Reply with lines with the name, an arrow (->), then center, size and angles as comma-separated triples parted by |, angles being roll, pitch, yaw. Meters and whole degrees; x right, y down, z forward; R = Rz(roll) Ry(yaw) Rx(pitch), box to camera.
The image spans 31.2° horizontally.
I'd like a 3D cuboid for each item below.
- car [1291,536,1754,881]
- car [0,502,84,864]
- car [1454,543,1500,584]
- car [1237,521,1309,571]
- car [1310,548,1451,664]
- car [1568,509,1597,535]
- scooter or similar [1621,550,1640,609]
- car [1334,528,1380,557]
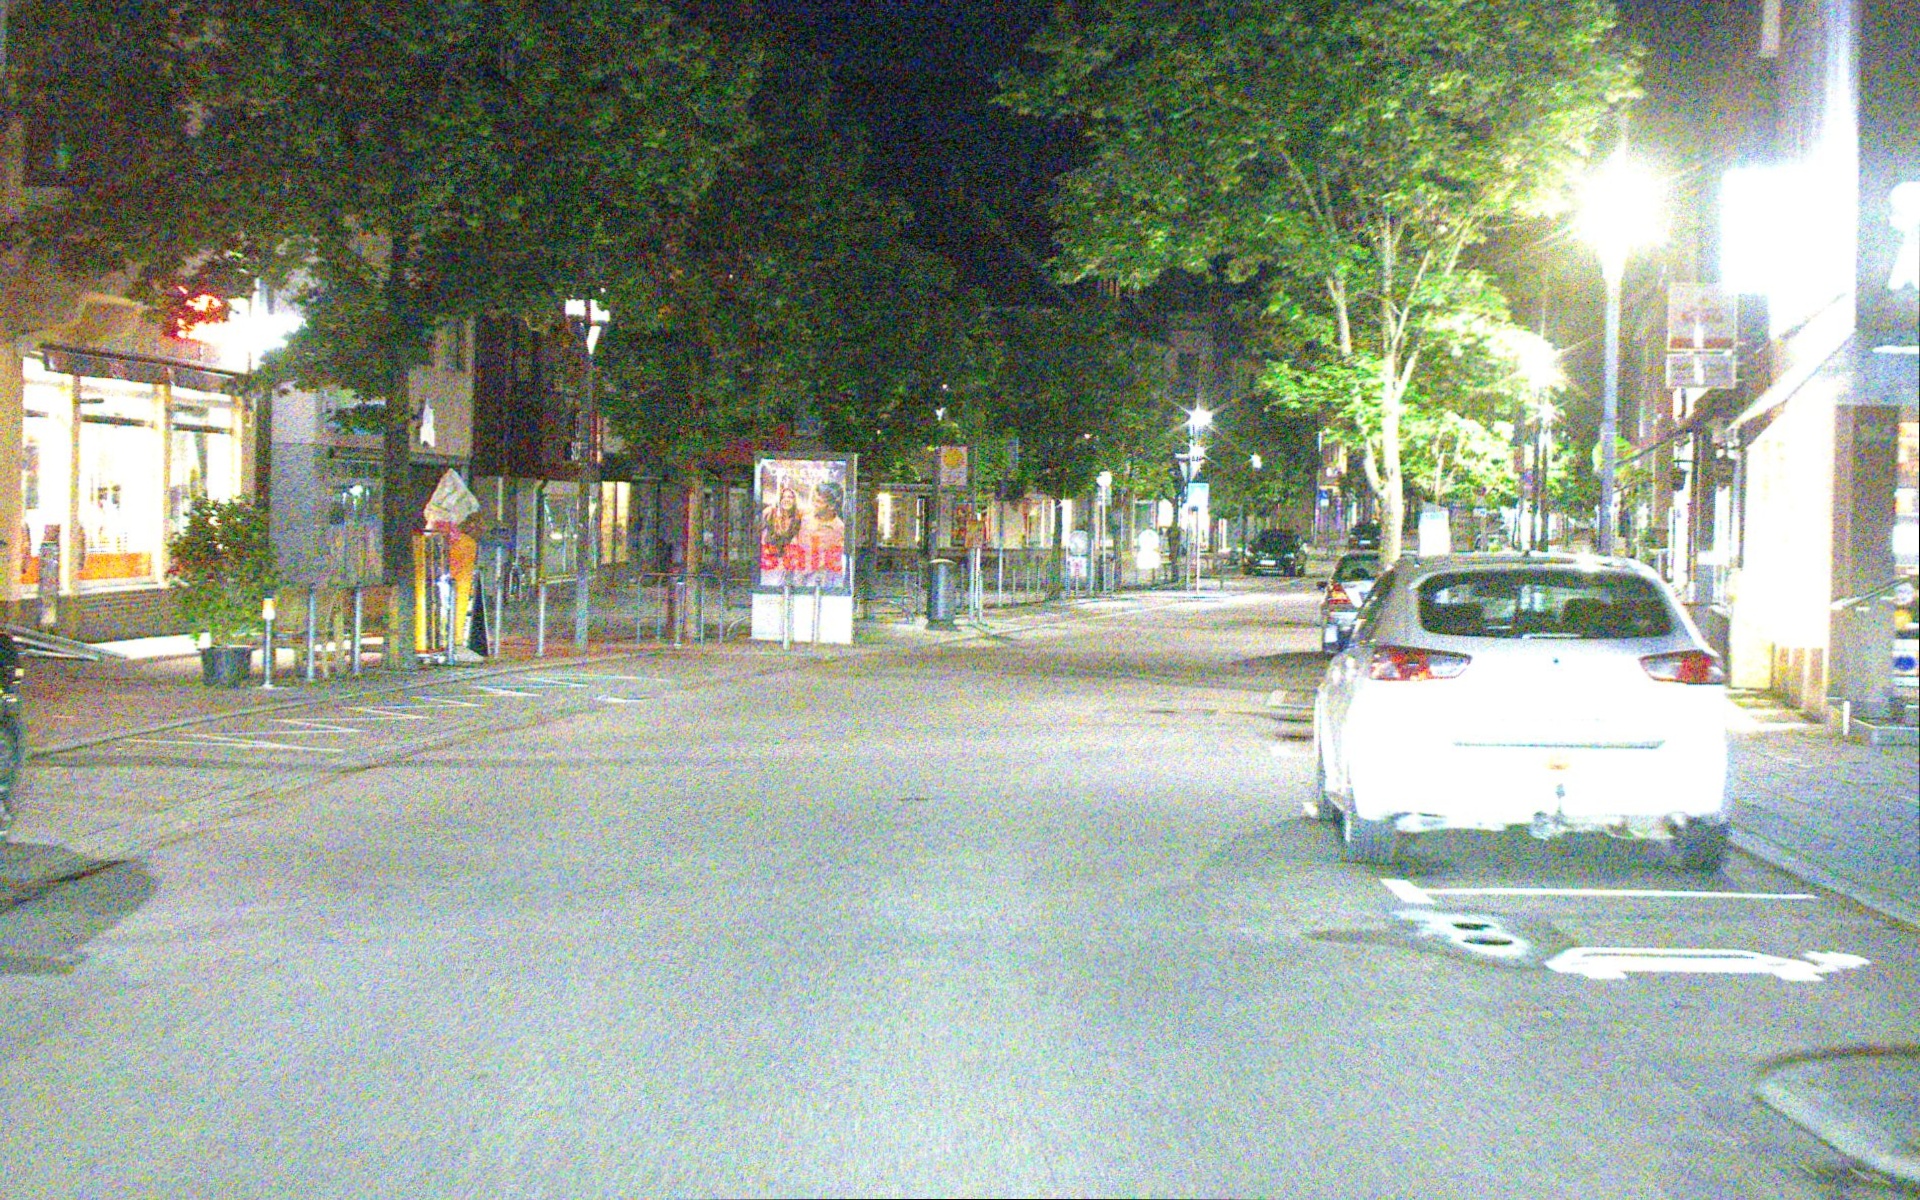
car -> 2.687, 0.469, 17.387 | 1.742, 1.482, 4.636 | 1, 0, 2
car -> -5.180, 0.380, 14.613 | 1.758, 1.631, 4.815 | 1, 1, -1
car -> 19.297, -1.386, 128.367 | 1.675, 1.454, 3.674 | 1, 1, 9
car -> 11.342, -1.967, 124.314 | 2.019, 1.685, 5.001 | 3, 2, 11
car -> 5.666, 0.044, 46.758 | 1.734, 1.436, 4.496 | 1, 1, 5
car -> 41.271, -5.177, 227.941 | 1.776, 1.646, 4.362 | 1, 2, 12
scooter or similar -> 14.559, -0.445, 74.662 | 0.373, 1.272, 1.305 | 1, 0, 11
car -> 20.540, -2.994, 177.754 | 1.915, 1.366, 4.455 | 1, 2, 12
